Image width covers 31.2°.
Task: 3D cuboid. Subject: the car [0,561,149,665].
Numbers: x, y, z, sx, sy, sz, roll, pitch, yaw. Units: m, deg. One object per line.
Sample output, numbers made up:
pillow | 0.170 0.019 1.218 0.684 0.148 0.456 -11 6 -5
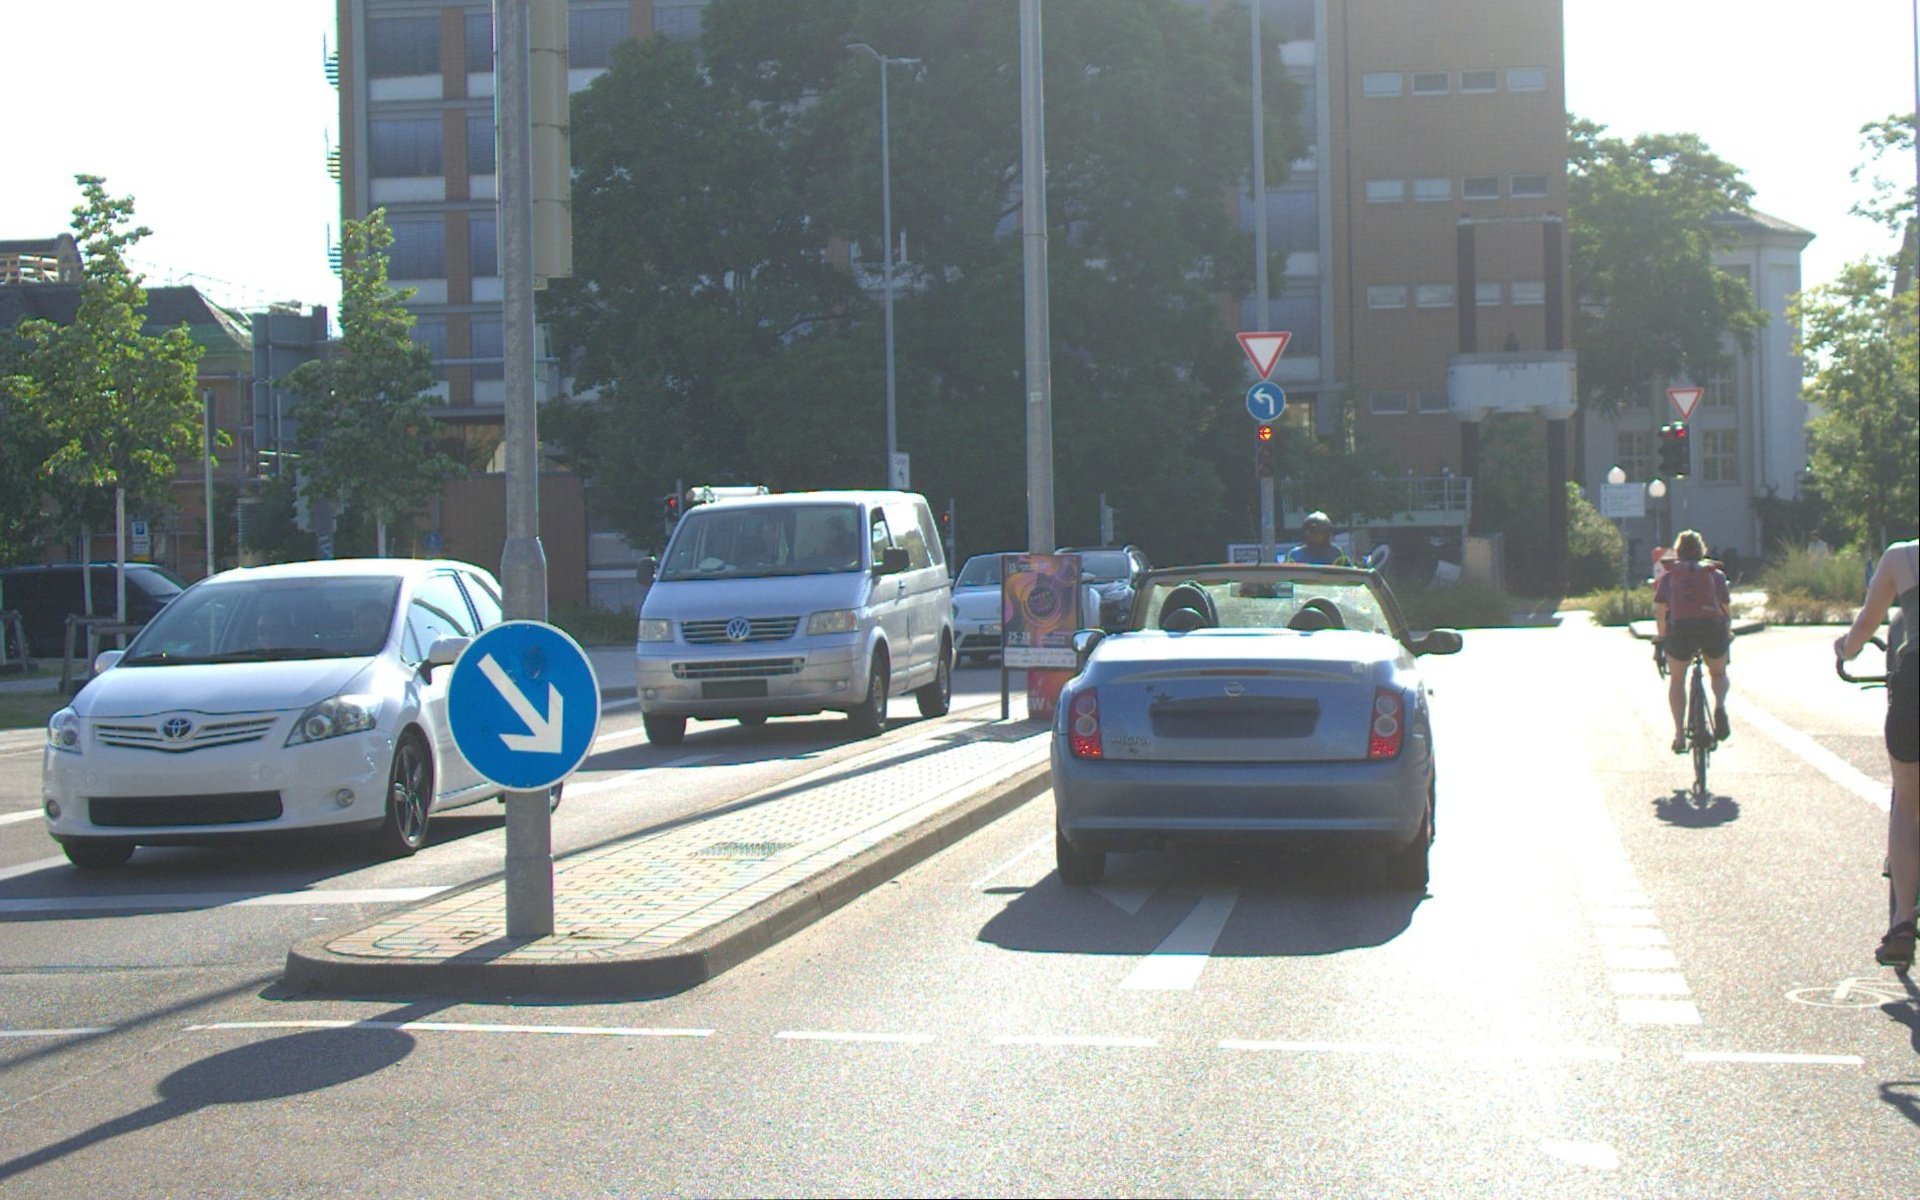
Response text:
car | -18.512 0.293 66.637 5.160 1.888 2.243 -2 1 28

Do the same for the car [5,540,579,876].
car | -3.364 0.479 18.103 1.695 1.555 3.978 -1 1 9

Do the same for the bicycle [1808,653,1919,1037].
bicycle | 3.237 0.768 11.466 0.564 1.147 1.949 1 0 7

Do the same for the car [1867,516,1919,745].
car | 8.039 0.234 25.744 1.832 1.683 4.367 1 0 7

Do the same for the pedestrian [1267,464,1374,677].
pedestrian | 3.213 -0.258 30.620 0.834 1.862 0.920 1 0 12

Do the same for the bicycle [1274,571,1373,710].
bicycle | 3.274 0.348 30.826 0.608 1.187 2.413 1 0 12

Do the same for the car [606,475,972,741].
car | -1.297 0.028 28.373 1.909 1.938 4.704 -3 1 10

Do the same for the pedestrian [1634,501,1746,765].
pedestrian | 4.523 0.197 21.348 0.588 1.593 1.024 1 0 8

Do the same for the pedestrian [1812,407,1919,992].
pedestrian | 3.226 0.319 11.385 0.659 1.862 0.872 1 0 7

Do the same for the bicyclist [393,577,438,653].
bicyclist | -11.398 0.312 71.978 0.752 1.593 0.589 1 0 15

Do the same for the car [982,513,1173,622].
car | 1.813 -0.515 51.897 1.800 1.525 3.997 -2 1 18

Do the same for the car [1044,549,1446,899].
car | 1.435 0.517 16.437 1.661 1.436 4.153 1 0 7

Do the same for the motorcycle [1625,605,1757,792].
motorcycle | 4.531 0.580 21.414 0.613 1.094 2.359 1 0 8

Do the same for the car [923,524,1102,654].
car | 0.724 -0.164 44.206 1.799 1.525 3.999 -2 1 8
